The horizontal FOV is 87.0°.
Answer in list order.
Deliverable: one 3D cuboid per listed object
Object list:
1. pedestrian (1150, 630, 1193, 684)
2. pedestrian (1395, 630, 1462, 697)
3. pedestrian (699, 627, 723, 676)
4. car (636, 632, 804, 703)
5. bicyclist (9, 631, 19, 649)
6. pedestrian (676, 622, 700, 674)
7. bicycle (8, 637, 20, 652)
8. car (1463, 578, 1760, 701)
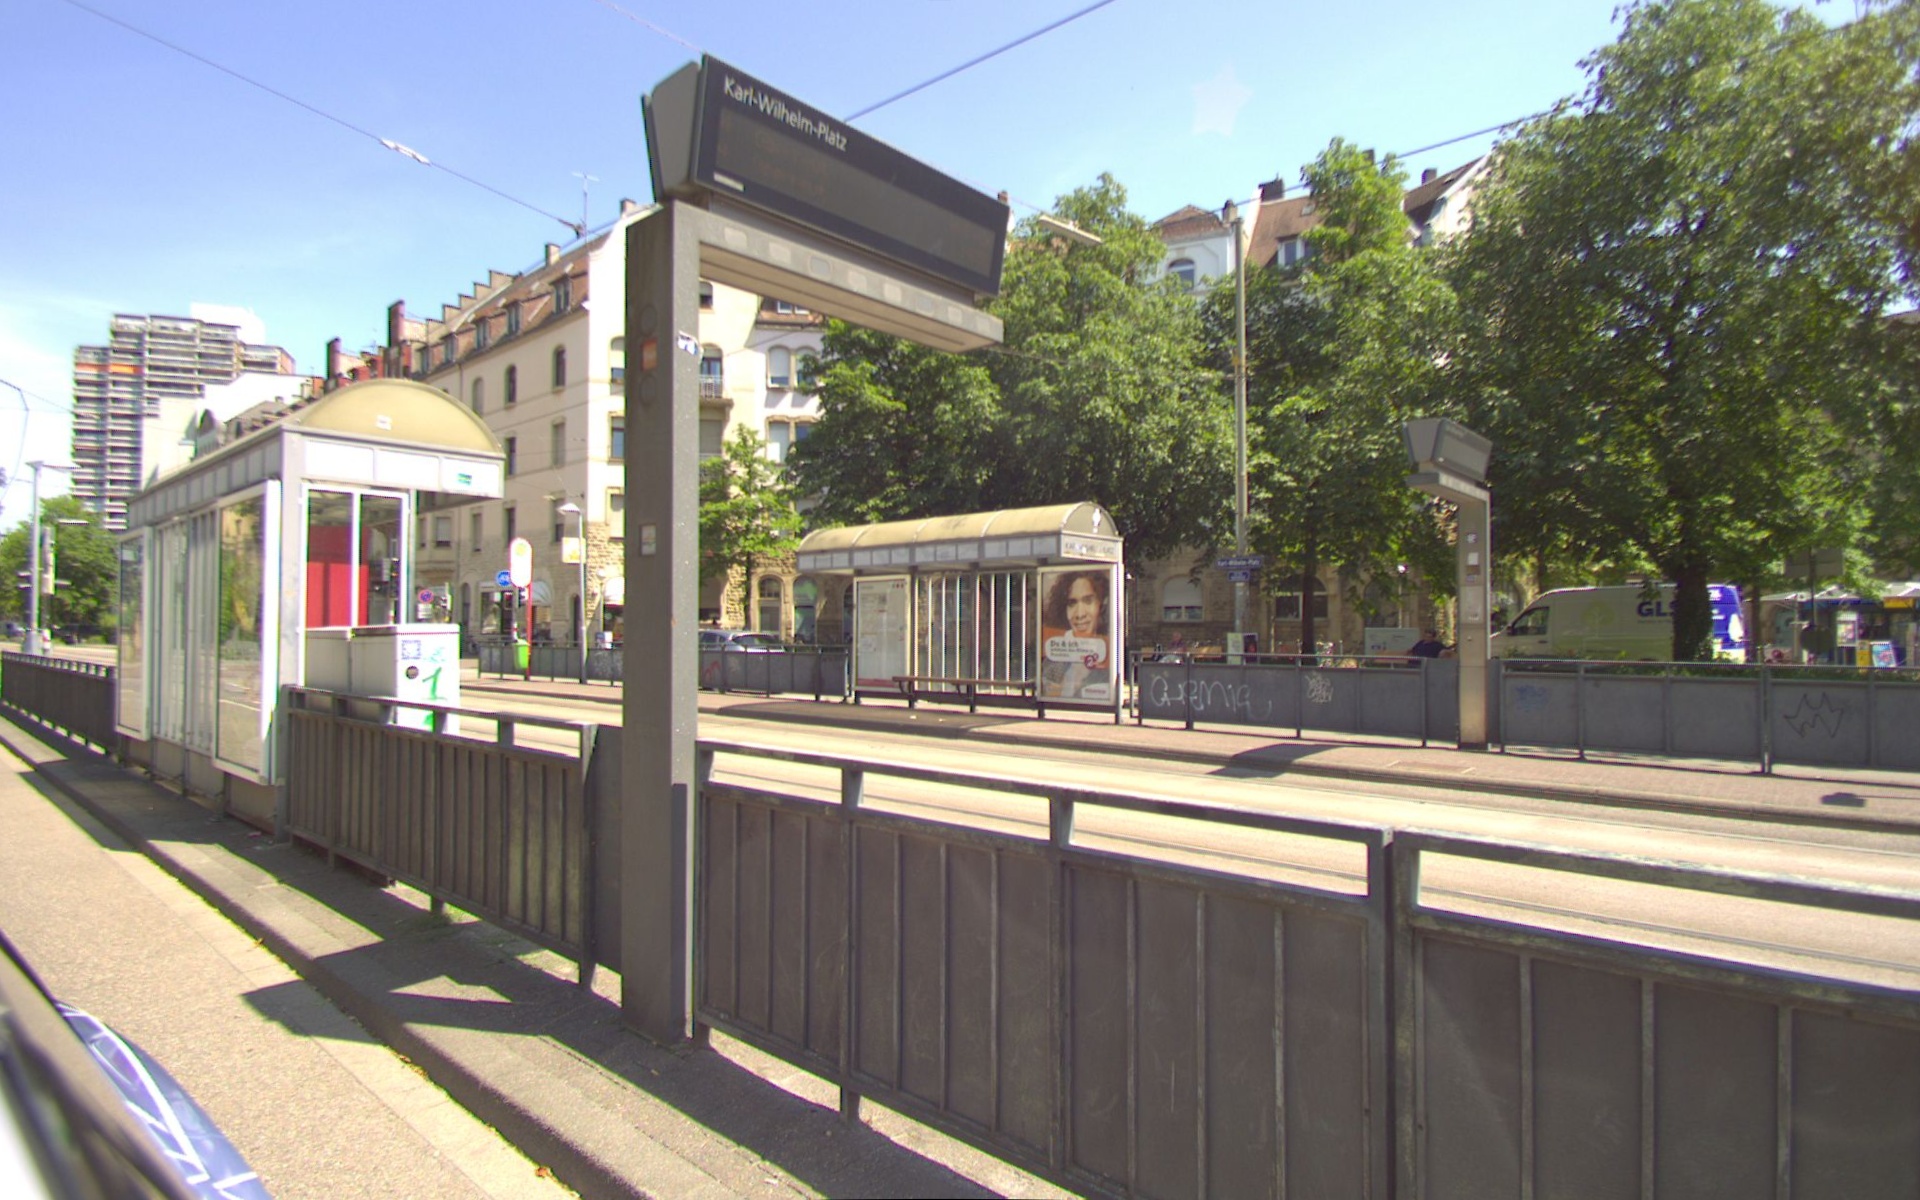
[{"bbox_3d":[5.091,1.352,24.310,0.930,1.253,0.860,-1,0,17],"label":"pedestrian"},{"bbox_3d":[9.280,1.236,20.035,0.852,1.253,0.939,-1,0,-43],"label":"pedestrian"},{"bbox_3d":[-7.986,1.655,32.489,0.473,1.563,0.586,-2,-3,39],"label":"pedestrian"},{"bbox_3d":[-5.601,1.486,23.356,3.998,1.404,1.789,-1,0,41],"label":"car"},{"bbox_3d":[-99.426,4.207,106.342,0.715,1.889,0.636,-1,0,39],"label":"bicyclist"},{"bbox_3d":[-8.892,1.569,33.087,0.473,1.659,0.586,-2,-3,41],"label":"pedestrian"},{"bbox_3d":[-99.420,4.668,106.351,1.969,1.524,0.636,-1,0,39],"label":"bicycle"},{"bbox_3d":[16.028,0.881,25.325,2.235,2.693,5.845,-1,0,-30],"label":"car"}]
